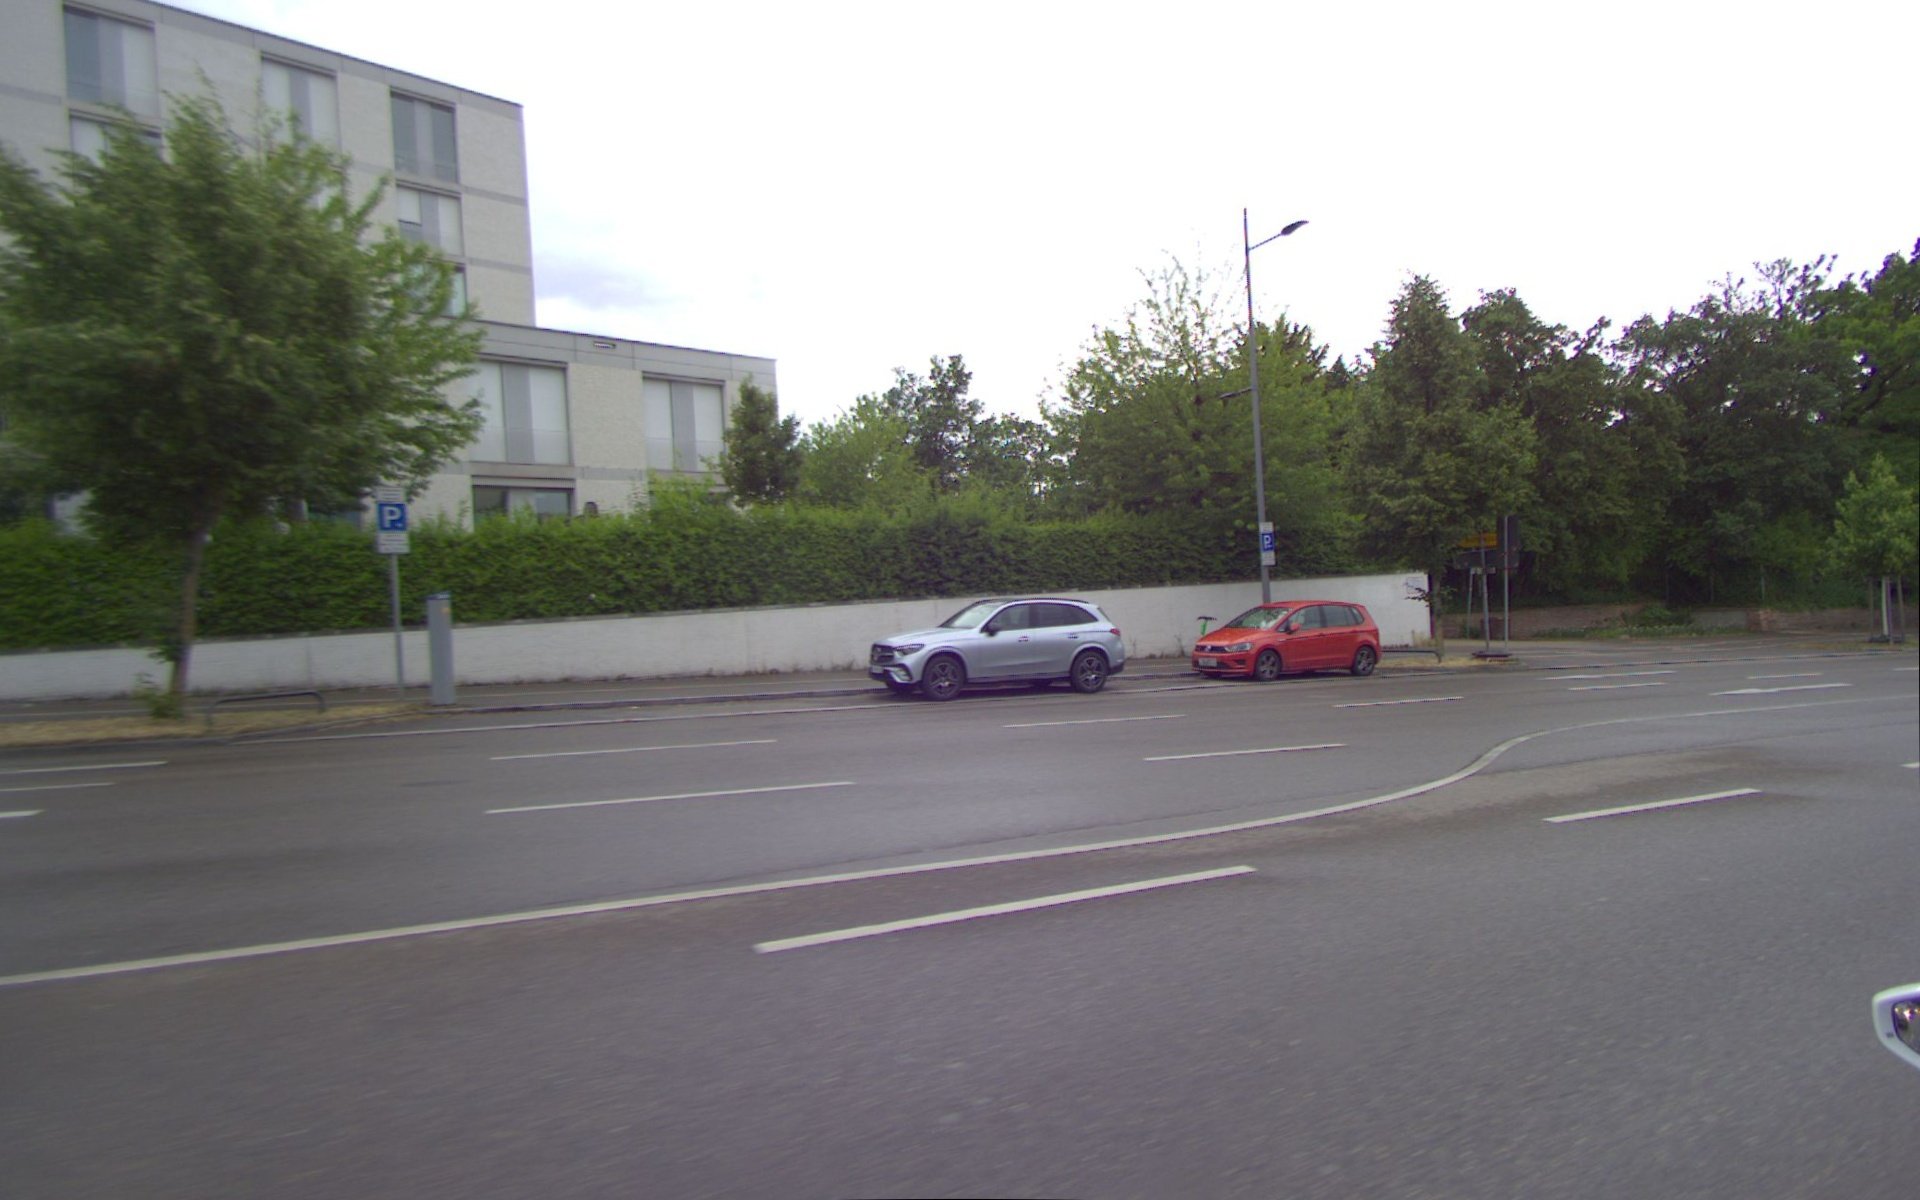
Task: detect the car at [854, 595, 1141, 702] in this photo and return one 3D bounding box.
[{"bbox_3d":[0.702,0.774,17.672,4.820,1.675,1.758,0,1,-27],"label":"car"}]

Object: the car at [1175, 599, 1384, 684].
[{"bbox_3d":[6.629,0.814,20.789,4.162,1.608,1.659,0,-1,-27],"label":"car"}]
